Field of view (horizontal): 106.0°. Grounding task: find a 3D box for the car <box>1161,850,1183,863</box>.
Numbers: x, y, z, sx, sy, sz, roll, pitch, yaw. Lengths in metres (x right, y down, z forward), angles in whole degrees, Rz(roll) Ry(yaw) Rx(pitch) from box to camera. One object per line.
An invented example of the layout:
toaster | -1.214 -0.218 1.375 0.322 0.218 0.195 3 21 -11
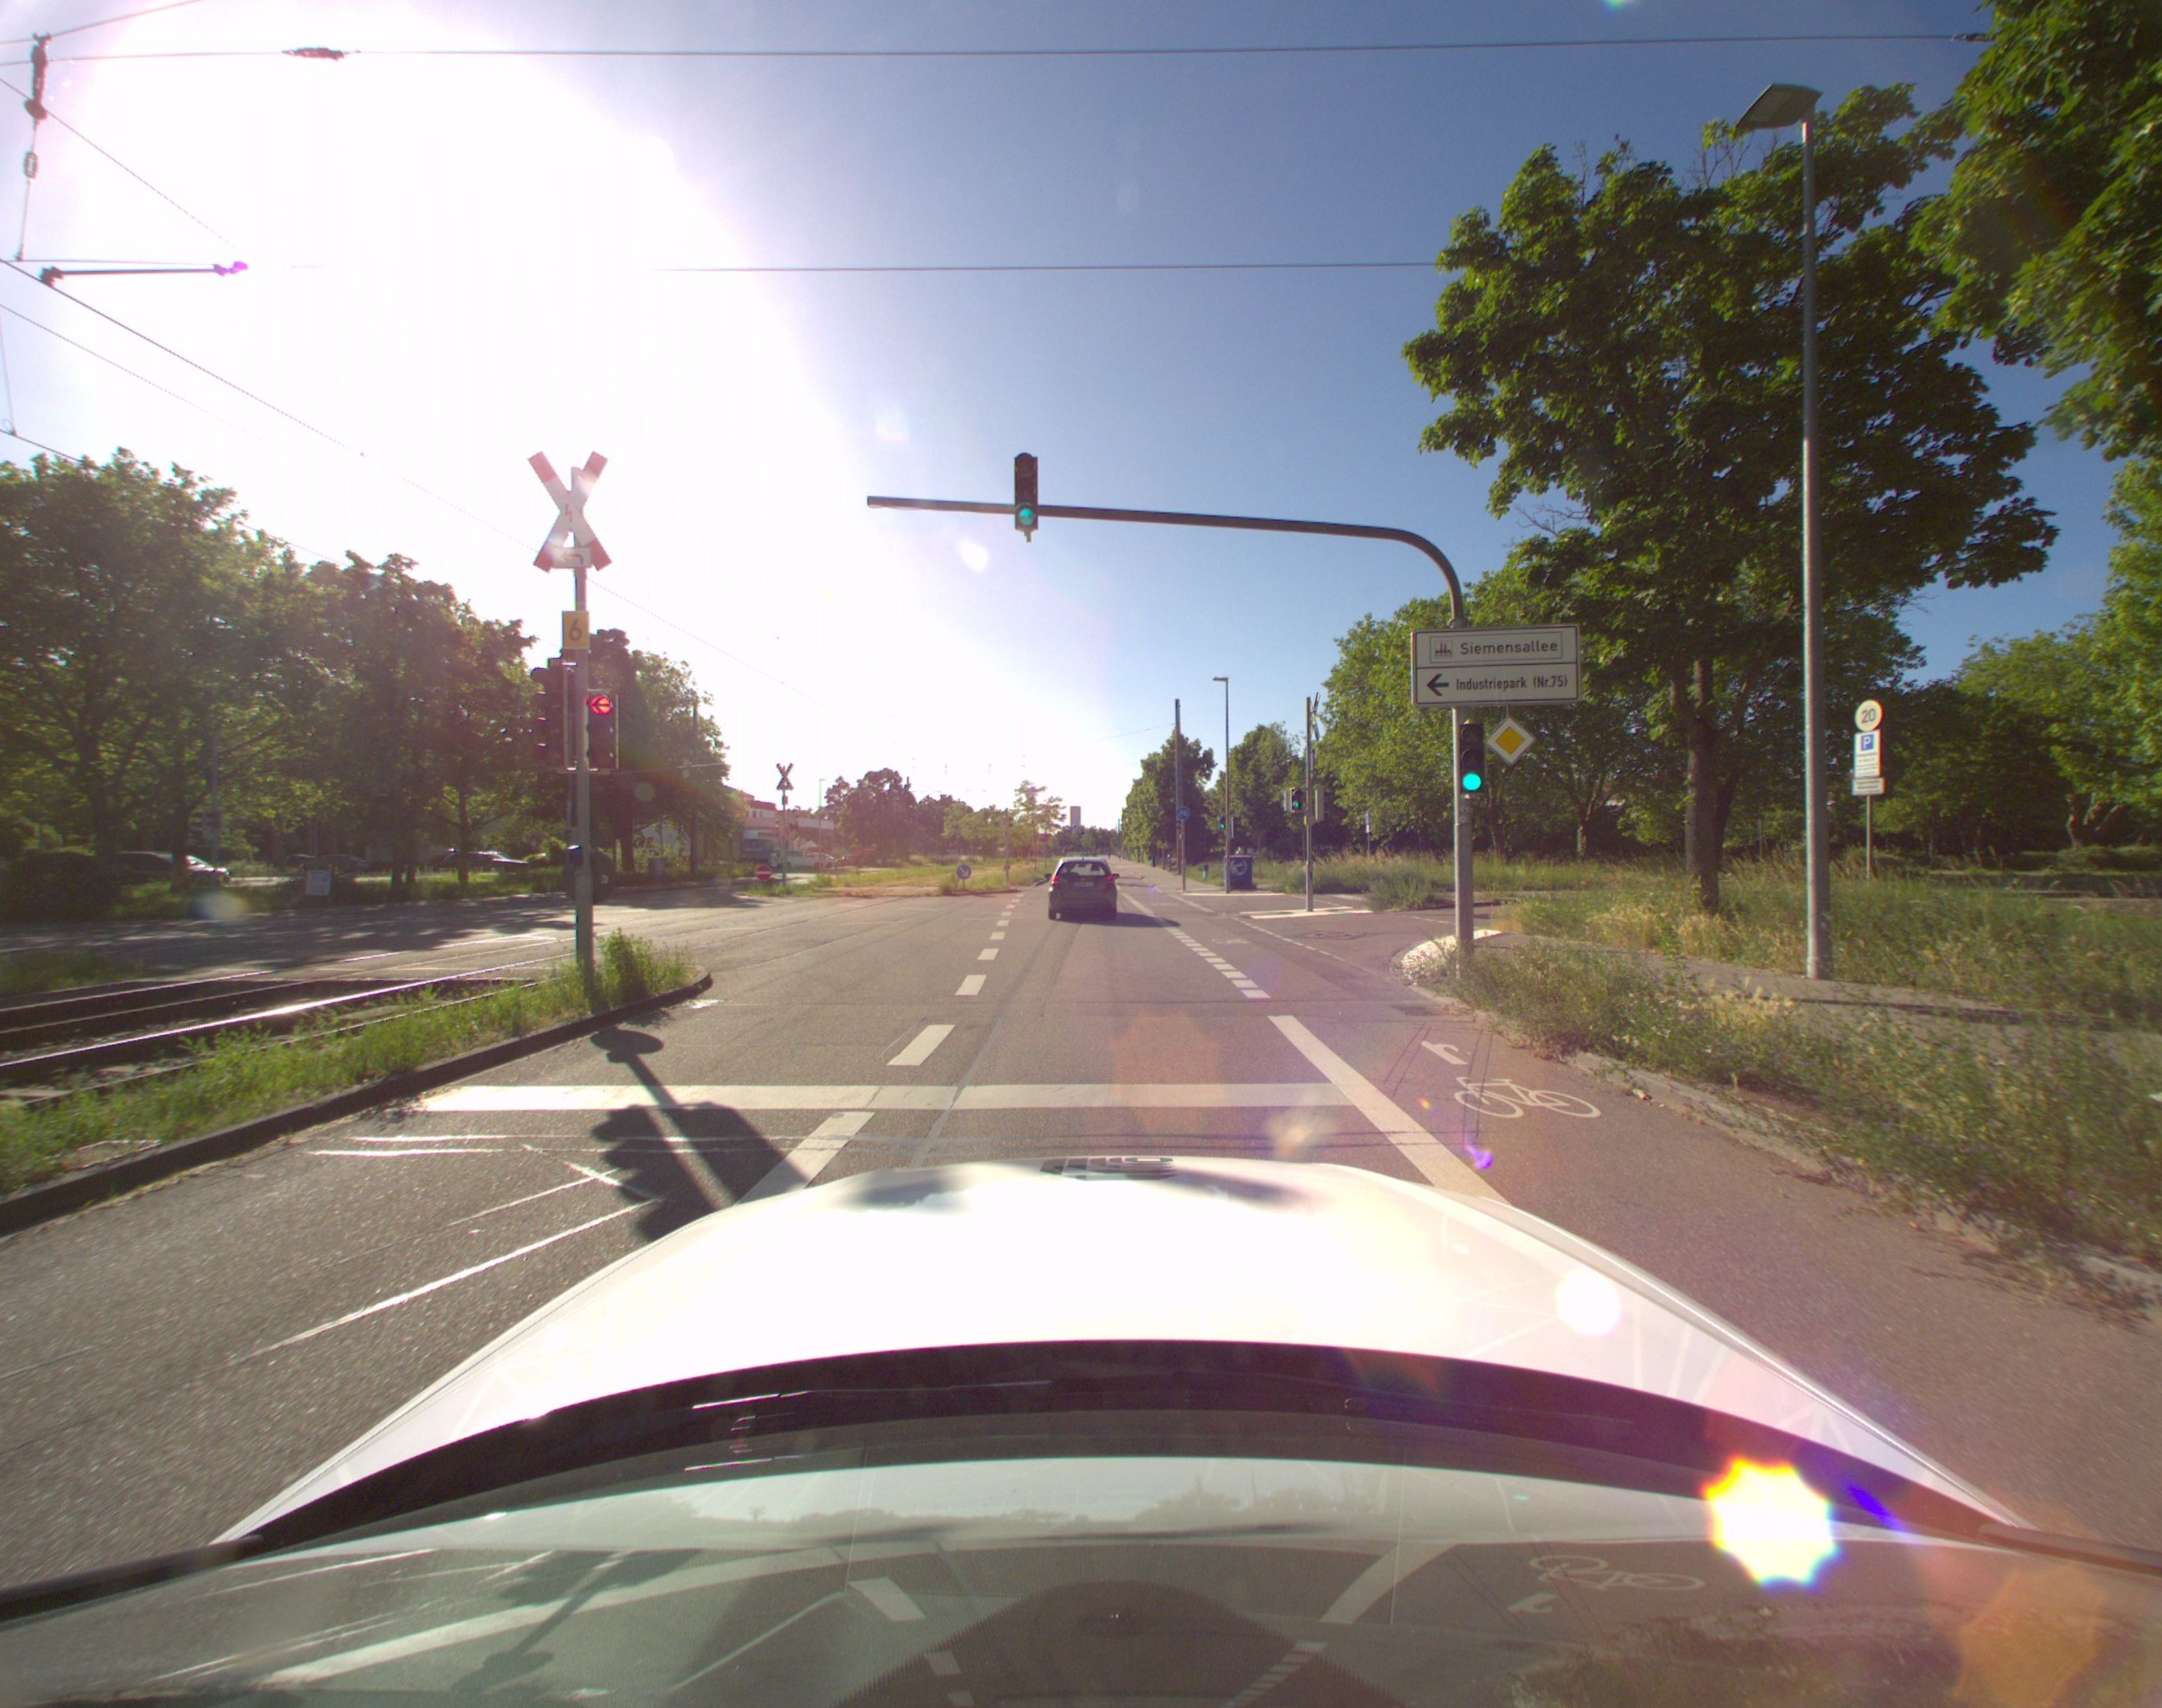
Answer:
car | 10.010 0.252 89.681 1.769 1.386 3.867 -1 0 -2

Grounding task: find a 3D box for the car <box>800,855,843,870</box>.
car | -28.374 0.922 89.142 1.769 1.471 4.499 -1 0 31

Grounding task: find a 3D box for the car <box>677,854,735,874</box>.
car | -31.150 0.862 67.764 3.957 1.526 1.727 1 -3 -4

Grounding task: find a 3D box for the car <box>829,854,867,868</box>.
car | -27.807 0.841 97.205 4.059 1.568 1.791 -1 0 -2

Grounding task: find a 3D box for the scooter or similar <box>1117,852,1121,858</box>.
scooter or similar | 6.414 0.195 138.531 0.537 1.118 1.417 -1 0 -1

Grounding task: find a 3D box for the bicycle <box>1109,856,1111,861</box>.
bicycle | 6.759 1.018 189.851 0.510 1.241 3.089 -1 0 0

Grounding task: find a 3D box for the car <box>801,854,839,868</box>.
car | -31.896 0.858 99.567 4.059 1.568 1.791 -1 0 -2

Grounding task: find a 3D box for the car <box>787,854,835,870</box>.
car | -28.092 0.829 84.923 1.769 1.528 4.499 -1 1 39

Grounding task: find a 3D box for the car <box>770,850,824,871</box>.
car | -28.072 0.634 80.571 1.837 1.974 4.817 -1 0 39

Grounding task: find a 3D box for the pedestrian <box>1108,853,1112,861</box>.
pedestrian | 6.796 0.732 190.110 0.719 1.800 1.164 -1 0 0

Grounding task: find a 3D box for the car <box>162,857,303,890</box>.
car | -38.071 0.850 36.668 3.990 1.381 1.865 -1 0 -13

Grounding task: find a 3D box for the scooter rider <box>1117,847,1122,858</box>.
scooter rider | 6.533 -0.210 138.570 0.714 1.901 0.934 -1 0 -1

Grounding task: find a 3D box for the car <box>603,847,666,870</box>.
car | -41.499 0.396 75.815 4.706 2.091 2.020 -1 0 -1

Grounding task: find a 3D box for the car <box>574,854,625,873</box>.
car | -40.405 0.744 68.470 1.570 1.544 4.094 0 0 5

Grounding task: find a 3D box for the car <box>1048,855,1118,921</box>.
car | 0.115 0.800 20.876 1.618 1.499 3.458 1 0 2

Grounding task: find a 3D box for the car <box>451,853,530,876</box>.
car | -39.311 0.708 54.304 3.957 1.432 1.664 -1 0 -4

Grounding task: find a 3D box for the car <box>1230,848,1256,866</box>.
car | 17.732 0.314 89.348 1.865 1.966 5.168 0 0 1
